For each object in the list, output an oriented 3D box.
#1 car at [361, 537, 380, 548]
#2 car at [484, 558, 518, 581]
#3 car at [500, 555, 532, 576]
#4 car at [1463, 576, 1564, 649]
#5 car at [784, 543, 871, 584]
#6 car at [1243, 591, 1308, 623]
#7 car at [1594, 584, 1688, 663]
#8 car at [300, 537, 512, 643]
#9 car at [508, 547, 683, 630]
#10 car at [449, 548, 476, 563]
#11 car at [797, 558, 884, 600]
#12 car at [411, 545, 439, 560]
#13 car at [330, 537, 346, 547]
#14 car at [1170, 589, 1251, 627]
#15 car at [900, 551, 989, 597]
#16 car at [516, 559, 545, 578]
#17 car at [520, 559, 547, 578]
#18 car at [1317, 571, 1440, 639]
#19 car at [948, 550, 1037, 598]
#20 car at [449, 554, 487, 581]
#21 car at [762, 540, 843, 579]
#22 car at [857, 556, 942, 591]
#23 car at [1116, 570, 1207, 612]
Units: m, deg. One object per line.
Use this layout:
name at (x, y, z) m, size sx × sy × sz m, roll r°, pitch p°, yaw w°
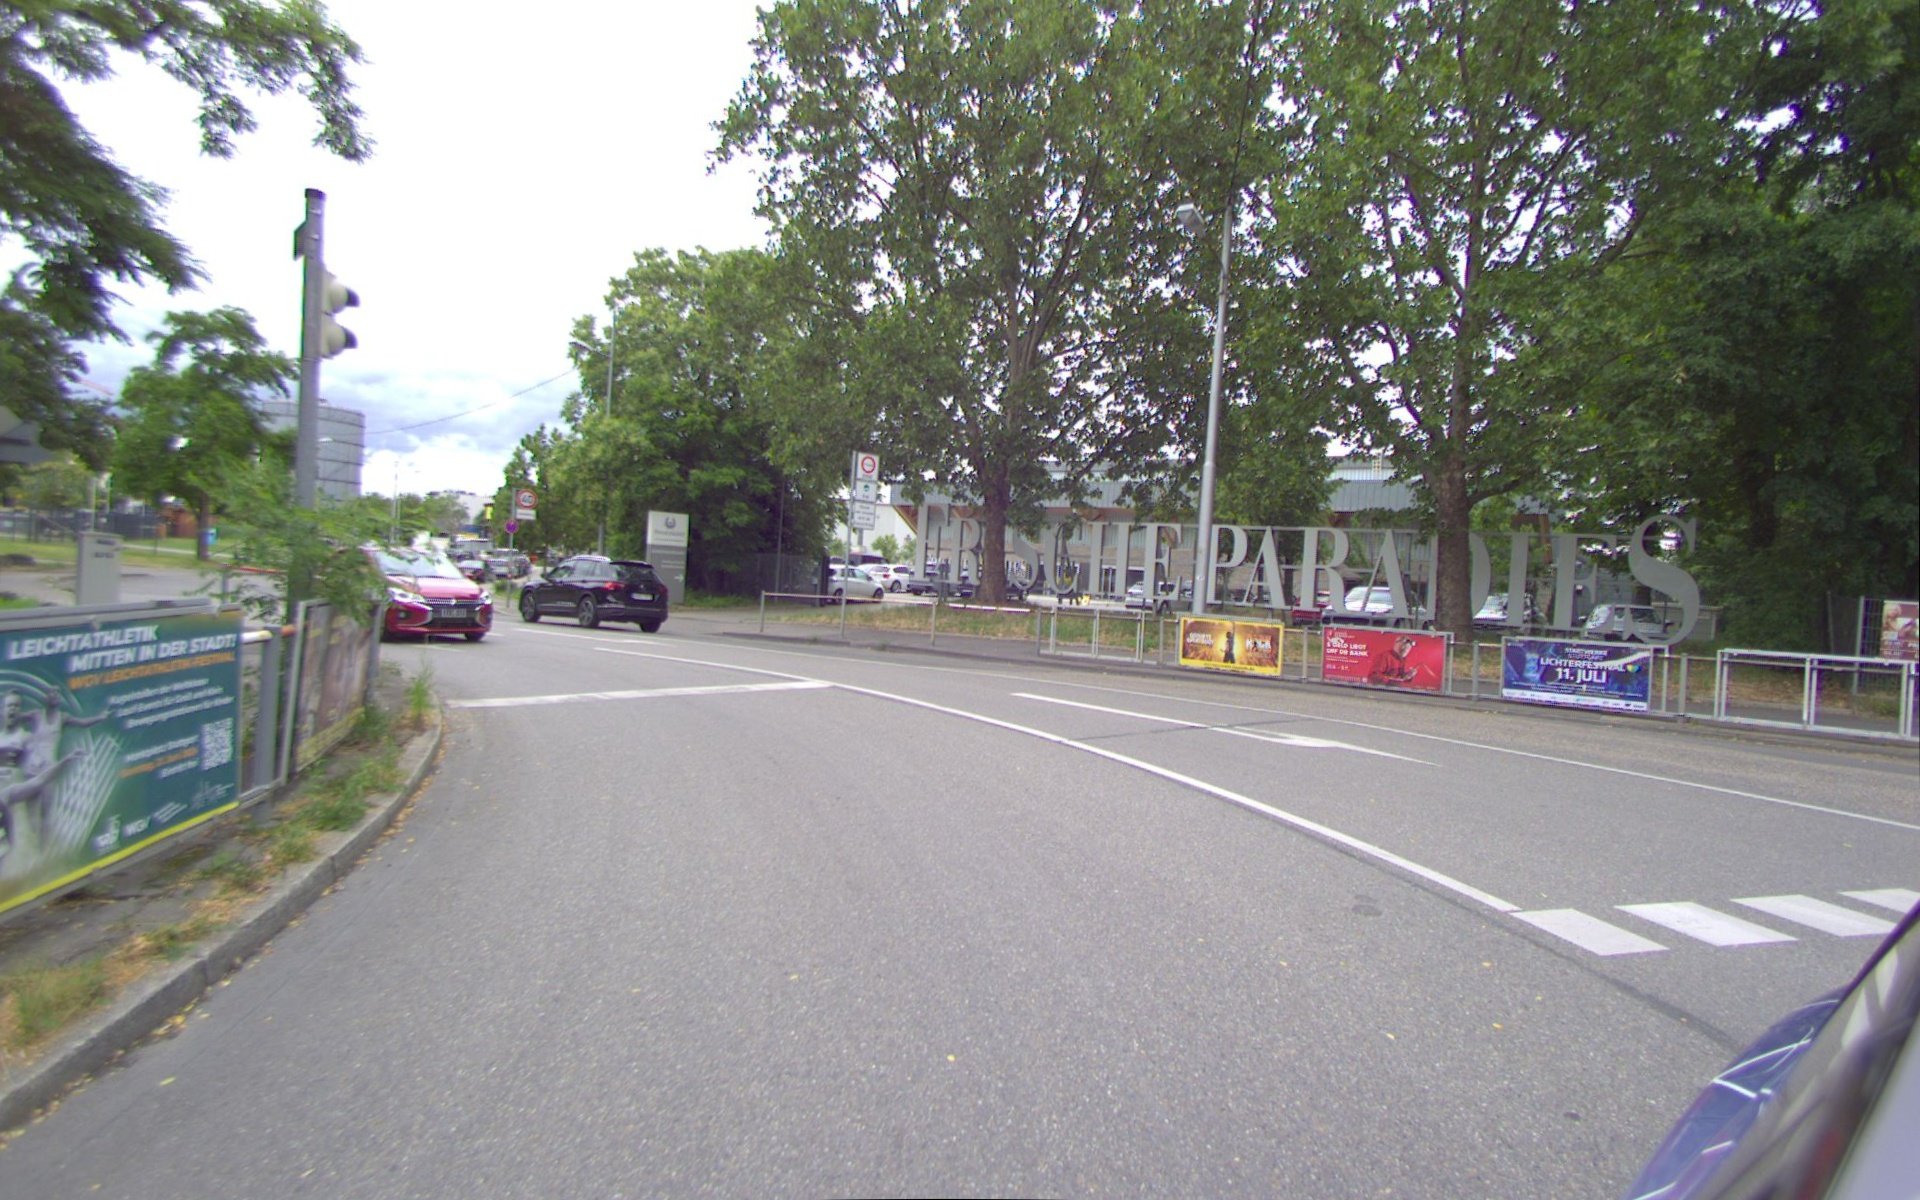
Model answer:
car at (-91.530, -8.884, 157.104) m, size 2.009 × 1.555 × 3.942 m, roll 5°, pitch 0°, yaw -36°
car at (-32.461, -2.164, 71.609) m, size 1.681 × 1.424 × 3.379 m, roll 4°, pitch 0°, yaw -16°
car at (-33.664, -2.629, 76.798) m, size 1.681 × 1.424 × 3.379 m, roll 4°, pitch 0°, yaw -16°
car at (14.126, 0.354, 25.728) m, size 1.583 × 1.633 × 4.259 m, roll 4°, pitch 1°, yaw 37°
car at (-7.671, -2.091, 59.154) m, size 1.990 × 2.023 × 5.032 m, roll 5°, pitch 1°, yaw 38°
car at (17.759, 0.391, 56.868) m, size 1.990 × 1.581 × 4.576 m, roll 5°, pitch 1°, yaw 38°
car at (16.231, 0.572, 24.058) m, size 1.583 × 1.633 × 3.945 m, roll 4°, pitch 1°, yaw 37°
car at (-9.153, -0.221, 16.606) m, size 3.816 × 1.483 × 1.709 m, roll 4°, pitch 2°, yaw 39°
car at (-8.548, -0.293, 23.601) m, size 4.164 × 1.656 × 1.824 m, roll 4°, pitch -1°, yaw 38°
car at (-58.197, -5.210, 118.406) m, size 2.010 × 1.555 × 3.940 m, roll 3°, pitch 1°, yaw -39°
car at (-4.871, -0.840, 41.655) m, size 1.472 × 1.523 × 3.684 m, roll 4°, pitch 1°, yaw 34°
car at (-60.375, -5.400, 114.122) m, size 2.012 × 1.554 × 3.939 m, roll -1°, pitch 4°, yaw -40°
car at (-107.382, -10.043, 174.677) m, size 2.009 × 1.555 × 3.942 m, roll 5°, pitch 0°, yaw -36°
car at (11.892, 0.380, 47.896) m, size 1.990 × 1.581 × 4.576 m, roll 5°, pitch 1°, yaw 38°
car at (-0.737, -1.279, 51.347) m, size 1.990 × 2.038 × 4.576 m, roll 5°, pitch 1°, yaw 38°
car at (-34.940, -2.574, 82.410) m, size 1.681 × 1.424 × 3.379 m, roll 4°, pitch 0°, yaw -16°
car at (-36.580, -2.689, 86.827) m, size 1.681 × 1.424 × 3.379 m, roll 4°, pitch 0°, yaw -16°
car at (11.665, 0.171, 28.055) m, size 1.876 × 1.633 × 4.460 m, roll 4°, pitch 1°, yaw 39°
car at (1.654, -1.252, 49.961) m, size 1.990 × 2.038 × 4.576 m, roll 5°, pitch 1°, yaw 38°
car at (-30.208, -2.001, 62.237) m, size 1.681 × 1.508 × 3.379 m, roll 4°, pitch 0°, yaw -20°
car at (-9.573, -2.429, 61.781) m, size 1.990 × 2.038 × 4.757 m, roll 5°, pitch 1°, yaw 38°
car at (-3.201, -1.406, 54.215) m, size 1.990 × 1.578 × 4.576 m, roll 5°, pitch 1°, yaw 38°
car at (8.837, -0.364, 44.160) m, size 1.990 × 1.581 × 4.576 m, roll 5°, pitch 1°, yaw 38°
